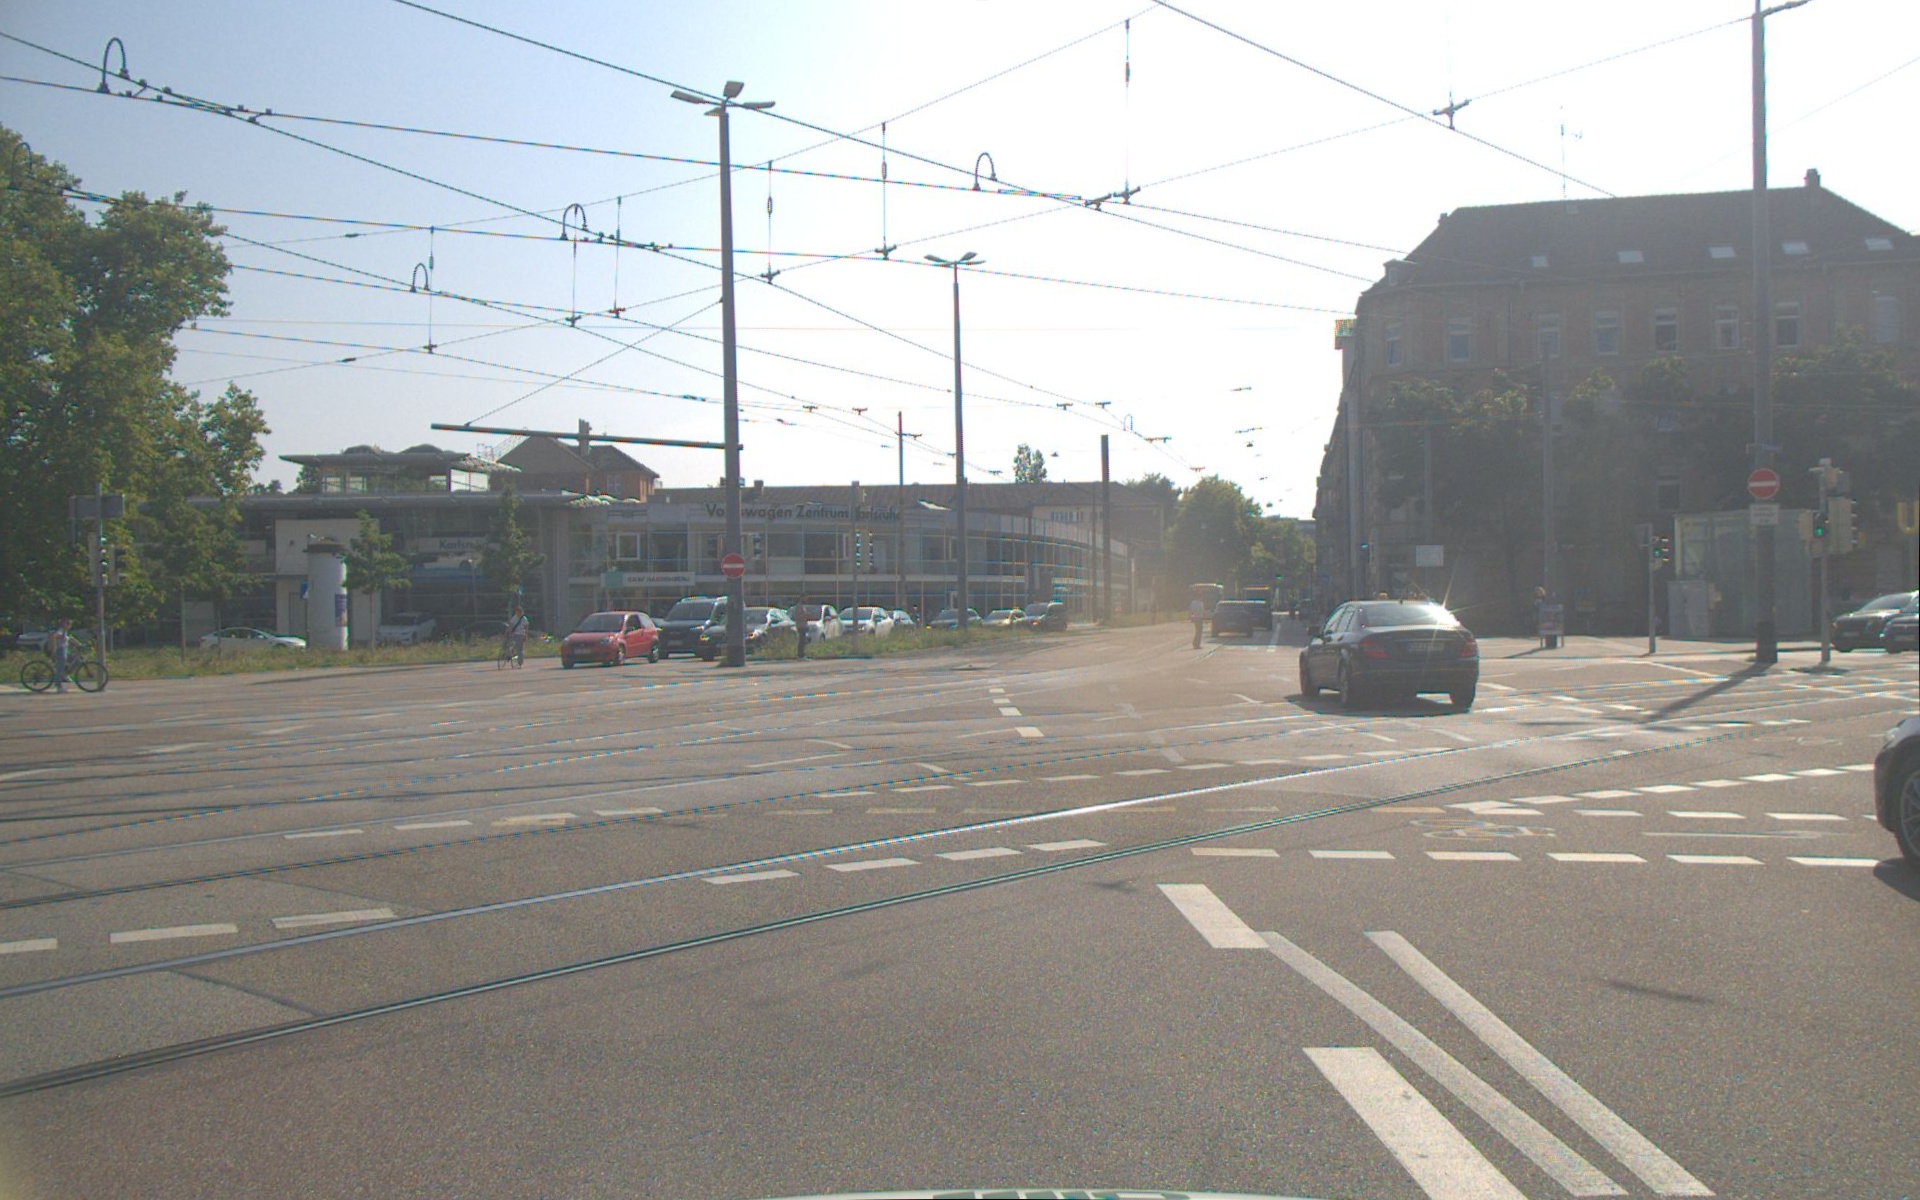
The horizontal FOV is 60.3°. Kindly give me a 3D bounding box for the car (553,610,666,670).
[{"bbox_3d":[-9.648,1.074,45.838,1.580,1.501,4.003,-3,-1,11],"label":"car"}]

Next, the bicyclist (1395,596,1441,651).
[{"bbox_3d":[14.551,0.745,52.537,0.923,1.709,1.083,-1,0,-28],"label":"bicyclist"}]

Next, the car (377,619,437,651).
[{"bbox_3d":[-27.920,1.762,83.645,1.665,1.549,4.099,0,0,0],"label":"car"}]

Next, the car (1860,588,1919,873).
[{"bbox_3d":[5.977,0.697,7.084,1.648,1.518,4.672,0,0,-1],"label":"car"}]

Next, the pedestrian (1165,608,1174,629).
[{"bbox_3d":[16.679,1.498,131.613,0.582,1.659,0.638,-1,-1,13],"label":"pedestrian"}]

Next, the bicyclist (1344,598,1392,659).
[{"bbox_3d":[12.555,0.862,50.884,0.923,1.831,1.083,-1,0,-28],"label":"bicyclist"}]

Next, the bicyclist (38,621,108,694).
[{"bbox_3d":[-19.362,1.247,36.147,1.144,1.554,0.956,2,-1,-18],"label":"bicyclist"}]

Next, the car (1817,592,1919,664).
[{"bbox_3d":[25.639,0.737,45.426,4.196,1.891,1.889,0,-1,-32],"label":"car"}]

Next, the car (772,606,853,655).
[{"bbox_3d":[-4.840,0.987,54.892,1.580,1.501,4.003,-3,-1,11],"label":"car"}]

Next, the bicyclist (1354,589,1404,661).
[{"bbox_3d":[12.307,0.727,48.572,0.929,2.060,1.076,0,-1,-41],"label":"bicyclist"}]

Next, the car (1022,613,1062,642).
[{"bbox_3d":[4.607,1.538,92.676,1.580,1.501,4.003,-3,-1,12],"label":"car"}]

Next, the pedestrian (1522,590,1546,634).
[{"bbox_3d":[19.914,0.408,57.391,0.537,1.496,0.664,-1,-1,41],"label":"pedestrian"}]

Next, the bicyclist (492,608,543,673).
[{"bbox_3d":[-12.306,1.114,46.032,0.937,1.779,1.167,-1,-1,12],"label":"bicyclist"}]

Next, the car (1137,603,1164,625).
[{"bbox_3d":[14.029,1.040,121.642,1.580,1.501,4.003,-3,-1,12],"label":"car"}]

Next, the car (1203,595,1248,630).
[{"bbox_3d":[11.696,0.526,72.765,1.786,1.453,4.416,-1,0,11],"label":"car"}]

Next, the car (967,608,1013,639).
[{"bbox_3d":[1.592,1.225,86.486,1.580,1.501,4.003,-3,-1,12],"label":"car"}]

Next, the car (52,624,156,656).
[{"bbox_3d":[-42.952,1.990,83.080,1.666,1.549,4.510,-1,-1,27],"label":"car"}]

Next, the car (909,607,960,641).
[{"bbox_3d":[-1.188,1.123,79.056,1.580,1.501,4.003,-3,-1,12],"label":"car"}]

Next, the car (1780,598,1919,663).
[{"bbox_3d":[26.874,0.887,49.885,4.219,1.891,1.934,0,-1,-32],"label":"car"}]

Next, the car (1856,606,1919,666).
[{"bbox_3d":[24.428,0.850,41.060,4.331,1.421,2.001,0,-1,-32],"label":"car"}]

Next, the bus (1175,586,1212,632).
[{"bbox_3d":[20.101,0.740,141.680,2.858,3.682,16.759,-1,0,9],"label":"bus"}]

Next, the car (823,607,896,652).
[{"bbox_3d":[-3.615,1.045,60.173,1.580,1.501,4.003,-3,-1,12],"label":"car"}]

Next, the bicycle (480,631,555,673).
[{"bbox_3d":[-12.301,1.434,46.045,0.937,1.075,2.610,-1,0,12],"label":"bicycle"}]

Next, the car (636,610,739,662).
[{"bbox_3d":[-8.684,1.120,53.048,1.918,1.501,4.003,-3,-1,11],"label":"car"}]

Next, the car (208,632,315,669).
[{"bbox_3d":[-30.974,2.227,73.377,4.002,1.549,1.705,0,-1,1],"label":"car"}]

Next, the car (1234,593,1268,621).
[{"bbox_3d":[16.135,0.362,91.648,1.786,1.453,4.416,-1,0,10],"label":"car"}]

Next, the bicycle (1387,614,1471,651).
[{"bbox_3d":[13.314,0.911,46.939,2.604,0.981,1.076,-1,0,-42],"label":"bicycle"}]

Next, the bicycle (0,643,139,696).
[{"bbox_3d":[-19.449,1.519,36.110,2.559,1.075,0.956,2,-2,-19],"label":"bicycle"}]

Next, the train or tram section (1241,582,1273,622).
[{"bbox_3d":[29.020,0.154,162.108,2.598,3.764,10.597,-1,0,8],"label":"train or tram section"}]

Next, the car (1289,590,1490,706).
[{"bbox_3d":[5.945,0.628,23.407,1.648,1.468,4.371,-1,0,-1],"label":"car"}]

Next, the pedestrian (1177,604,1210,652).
[{"bbox_3d":[7.551,0.906,53.524,0.767,1.529,0.705,-1,0,-24],"label":"pedestrian"}]

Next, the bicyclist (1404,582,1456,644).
[{"bbox_3d":[13.336,0.362,46.966,0.929,1.738,1.076,0,0,-41],"label":"bicyclist"}]

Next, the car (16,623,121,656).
[{"bbox_3d":[-45.010,1.979,83.603,1.666,1.549,4.510,-1,-1,27],"label":"car"}]

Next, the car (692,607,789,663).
[{"bbox_3d":[-6.351,0.992,48.302,1.580,1.501,4.003,-3,-1,11],"label":"car"}]
